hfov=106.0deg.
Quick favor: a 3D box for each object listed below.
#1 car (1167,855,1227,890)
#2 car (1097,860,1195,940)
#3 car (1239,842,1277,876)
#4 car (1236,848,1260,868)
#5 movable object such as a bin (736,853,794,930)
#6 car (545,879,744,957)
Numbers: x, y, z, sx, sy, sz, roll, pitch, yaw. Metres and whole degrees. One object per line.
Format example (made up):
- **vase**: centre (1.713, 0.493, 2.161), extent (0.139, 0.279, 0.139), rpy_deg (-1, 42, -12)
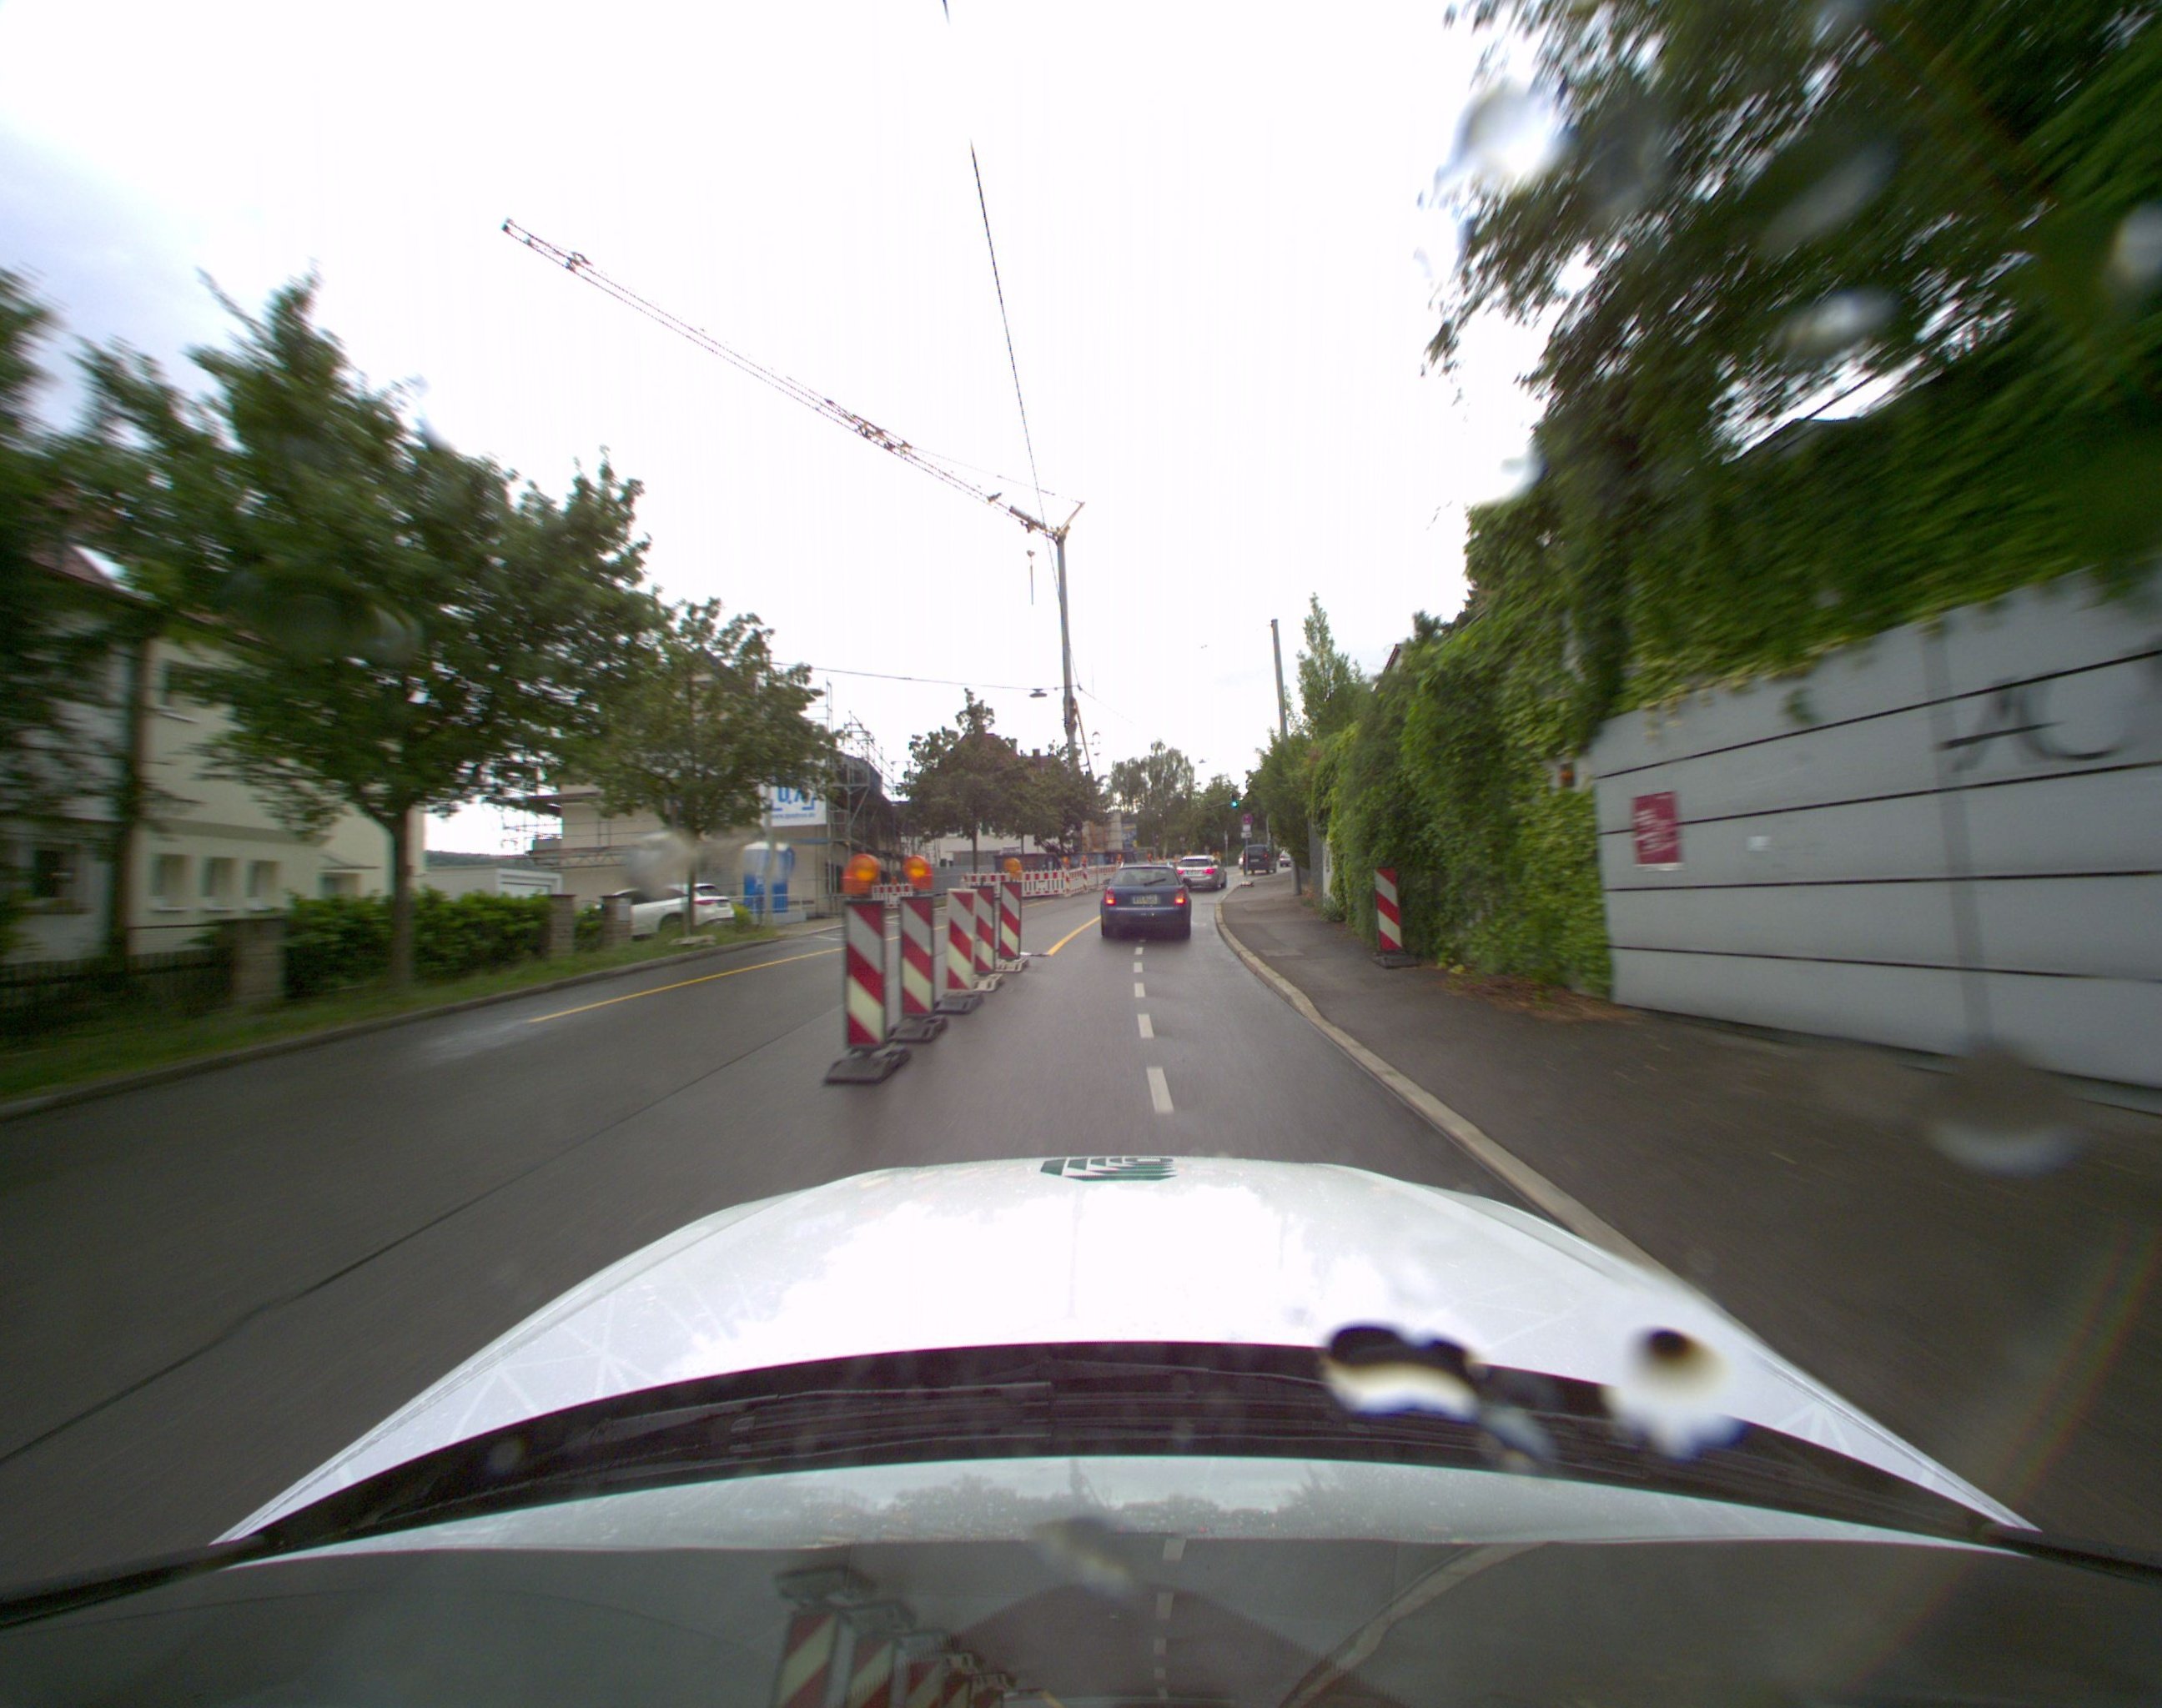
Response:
- **car**: centre (5.006, 0.766, 34.662), extent (1.894, 1.388, 4.369), rpy_deg (-1, -1, 17)
- **car**: centre (1.356, 0.849, 16.777), extent (1.769, 1.439, 4.005), rpy_deg (0, 0, 5)
- **car**: centre (11.324, 0.280, 51.910), extent (1.716, 1.894, 4.075), rpy_deg (-5, -1, 19)
- **car**: centre (13.292, 0.324, 64.757), extent (1.443, 1.526, 2.938), rpy_deg (-1, 0, 20)
- **movable object such as a bin**: centre (-10.761, 1.242, 27.787), extent (1.308, 2.505, 1.386), rpy_deg (-3, -1, 0)
- **car**: centre (-11.687, 1.675, 22.024), extent (4.187, 1.604, 1.949), rpy_deg (-5, -2, -3)
